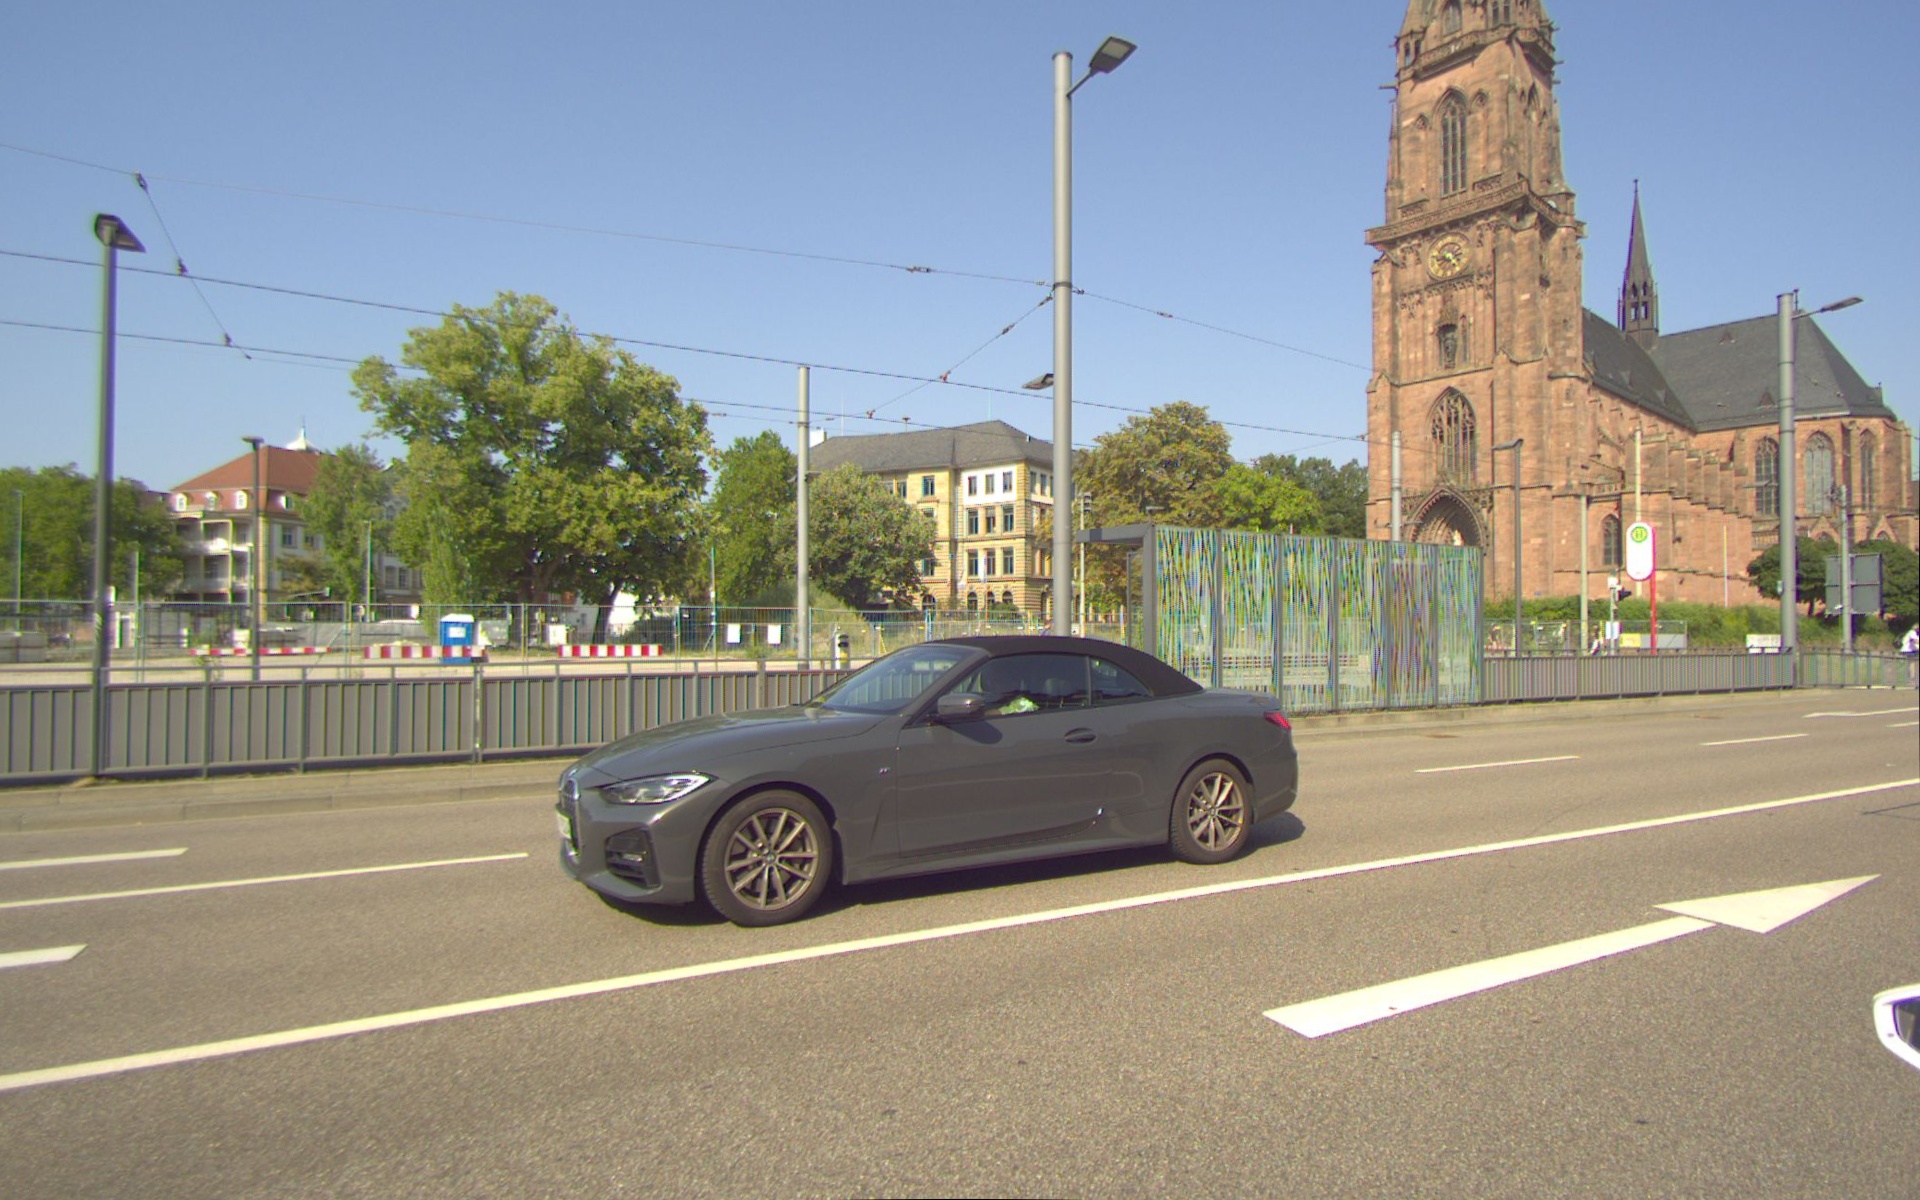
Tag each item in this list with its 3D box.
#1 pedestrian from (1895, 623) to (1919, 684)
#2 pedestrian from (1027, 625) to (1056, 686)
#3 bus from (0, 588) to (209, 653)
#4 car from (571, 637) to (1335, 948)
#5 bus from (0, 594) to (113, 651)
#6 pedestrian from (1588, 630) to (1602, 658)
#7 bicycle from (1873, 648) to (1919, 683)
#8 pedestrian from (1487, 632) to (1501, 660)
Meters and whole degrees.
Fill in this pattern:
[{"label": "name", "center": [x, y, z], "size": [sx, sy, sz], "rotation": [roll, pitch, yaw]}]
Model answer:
[{"label": "pedestrian", "center": [27.270, 1.520, 28.513], "size": [0.595, 1.701, 0.912], "rotation": [1, -2, -31]}, {"label": "pedestrian", "center": [2.313, 1.566, 28.503], "size": [0.656, 1.723, 0.515], "rotation": [1, -2, -29]}, {"label": "bus", "center": [-51.748, 1.283, 58.749], "size": [3.160, 3.464, 13.324], "rotation": [-1, -2, 15]}, {"label": "car", "center": [0.077, 0.923, 6.215], "size": [4.465, 1.348, 1.706], "rotation": [1, -3, -29]}, {"label": "bus", "center": [-60.194, 1.379, 61.450], "size": [3.160, 3.464, 13.324], "rotation": [-1, -2, 15]}, {"label": "pedestrian", "center": [36.101, 2.511, 57.106], "size": [0.534, 1.596, 0.659], "rotation": [-1, -2, 42]}, {"label": "bicycle", "center": [27.233, 1.866, 28.605], "size": [0.473, 0.991, 1.751], "rotation": [1, -2, -29]}, {"label": "pedestrian", "center": [30.687, 2.633, 57.682], "size": [0.546, 1.596, 0.490], "rotation": [1, -2, -29]}]
